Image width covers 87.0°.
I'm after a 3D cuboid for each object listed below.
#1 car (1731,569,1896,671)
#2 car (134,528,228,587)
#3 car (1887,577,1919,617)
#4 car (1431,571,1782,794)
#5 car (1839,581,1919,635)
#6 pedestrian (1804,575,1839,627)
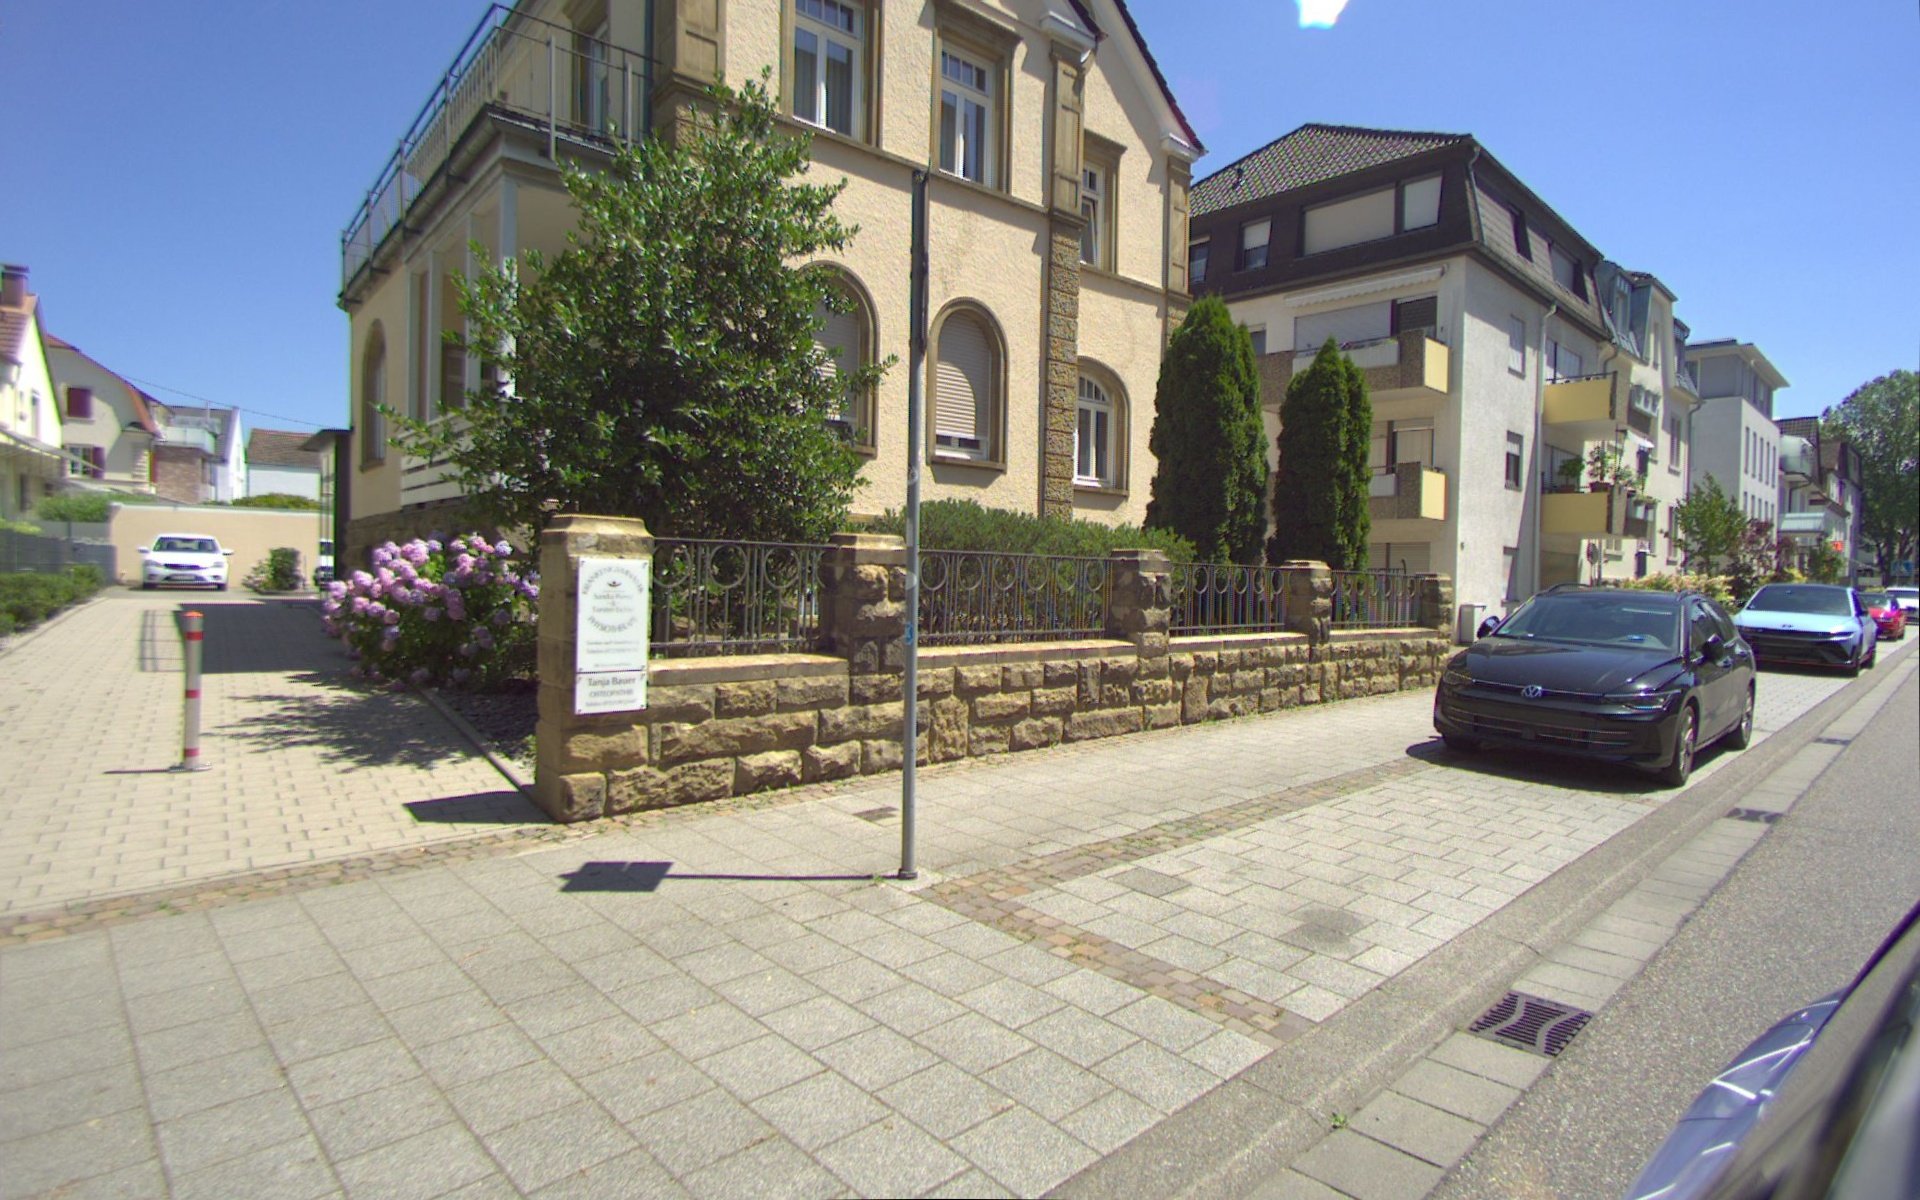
[{"bbox_3d":[16.248,0.306,19.195,4.353,1.639,1.846,-1,4,-43],"label":"car"},{"bbox_3d":[-20.692,-1.084,27.010,1.751,1.438,4.049,0,1,-34],"label":"car"},{"bbox_3d":[43.181,-0.144,45.595,4.503,1.686,1.707,0,3,-44],"label":"car"},{"bbox_3d":[5.985,0.546,9.124,4.325,1.464,1.634,0,4,-44],"label":"car"},{"bbox_3d":[28.147,0.202,30.820,3.787,1.458,1.606,0,5,-43],"label":"car"},{"bbox_3d":[28.973,0.033,34.034,0.694,1.689,0.741,0,4,-45],"label":"pedestrian"}]
